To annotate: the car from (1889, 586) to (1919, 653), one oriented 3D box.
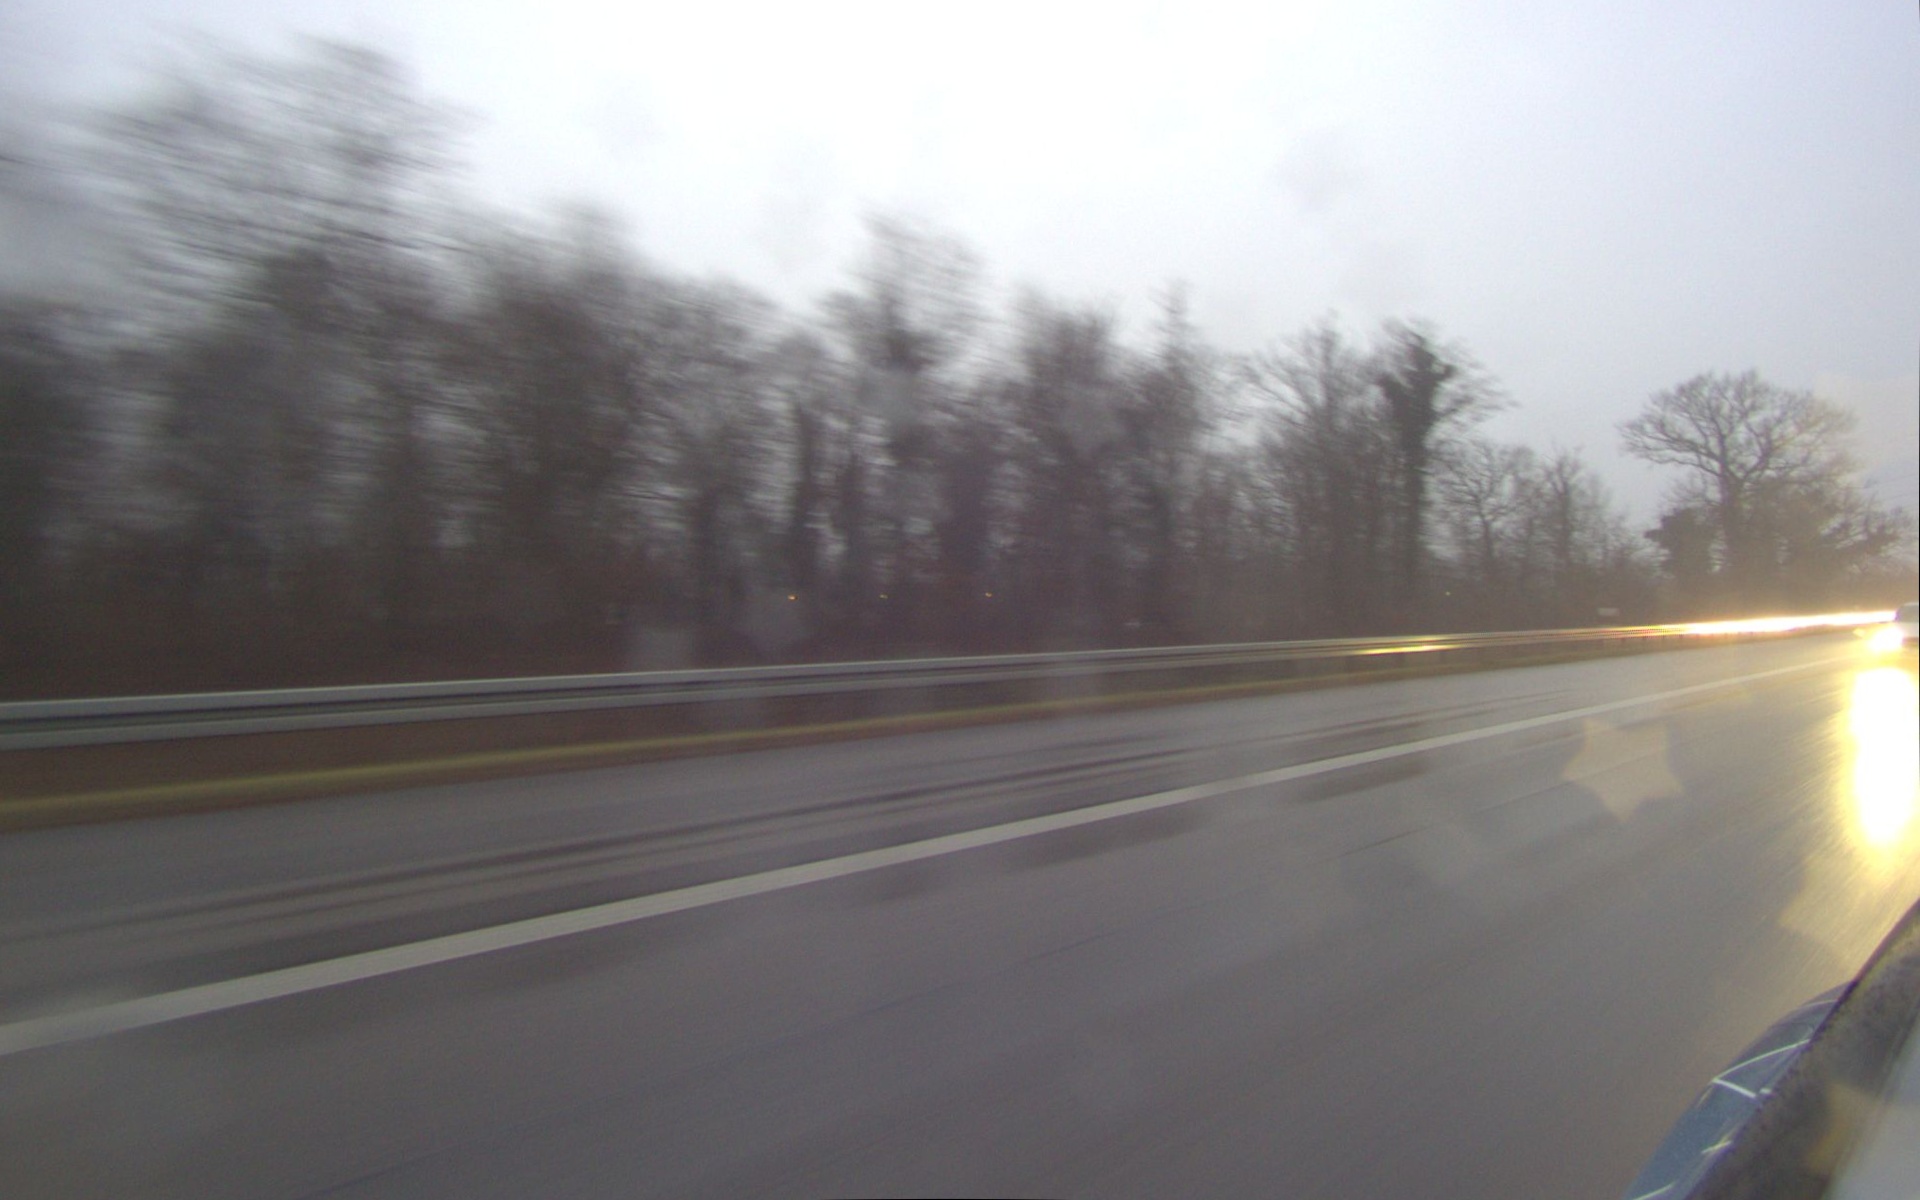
[{"bbox_3d":[23.801,0.454,24.311,3.744,1.535,1.789,0,0,-41],"label":"car"}]
